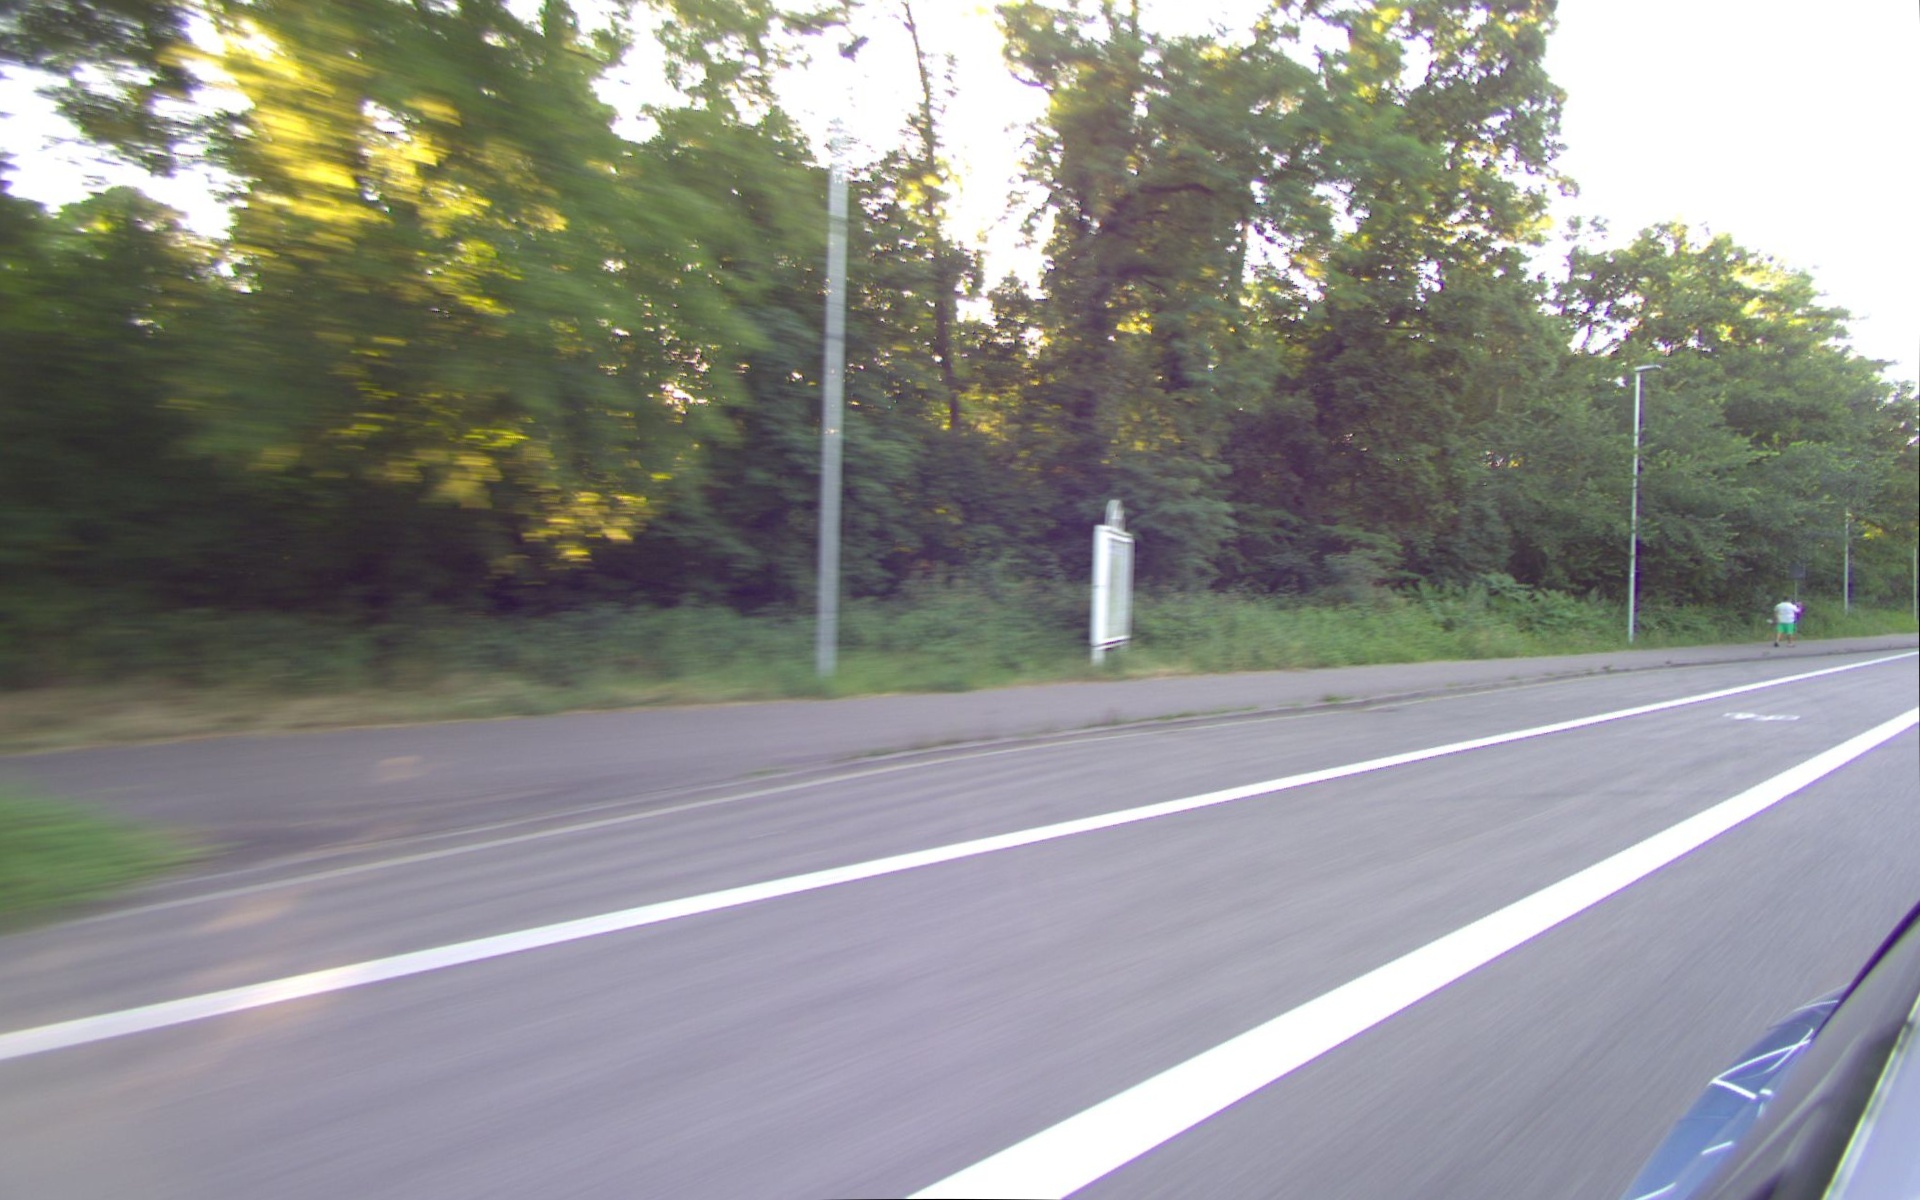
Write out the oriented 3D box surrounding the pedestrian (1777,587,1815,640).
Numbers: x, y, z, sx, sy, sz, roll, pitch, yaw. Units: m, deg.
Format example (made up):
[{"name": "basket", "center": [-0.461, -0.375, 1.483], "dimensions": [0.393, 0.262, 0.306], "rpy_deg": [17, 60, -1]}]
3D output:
[{"name": "pedestrian", "center": [28.305, 0.443, 34.272], "dimensions": [0.713, 1.773, 0.840], "rpy_deg": [1, 0, -39]}]
